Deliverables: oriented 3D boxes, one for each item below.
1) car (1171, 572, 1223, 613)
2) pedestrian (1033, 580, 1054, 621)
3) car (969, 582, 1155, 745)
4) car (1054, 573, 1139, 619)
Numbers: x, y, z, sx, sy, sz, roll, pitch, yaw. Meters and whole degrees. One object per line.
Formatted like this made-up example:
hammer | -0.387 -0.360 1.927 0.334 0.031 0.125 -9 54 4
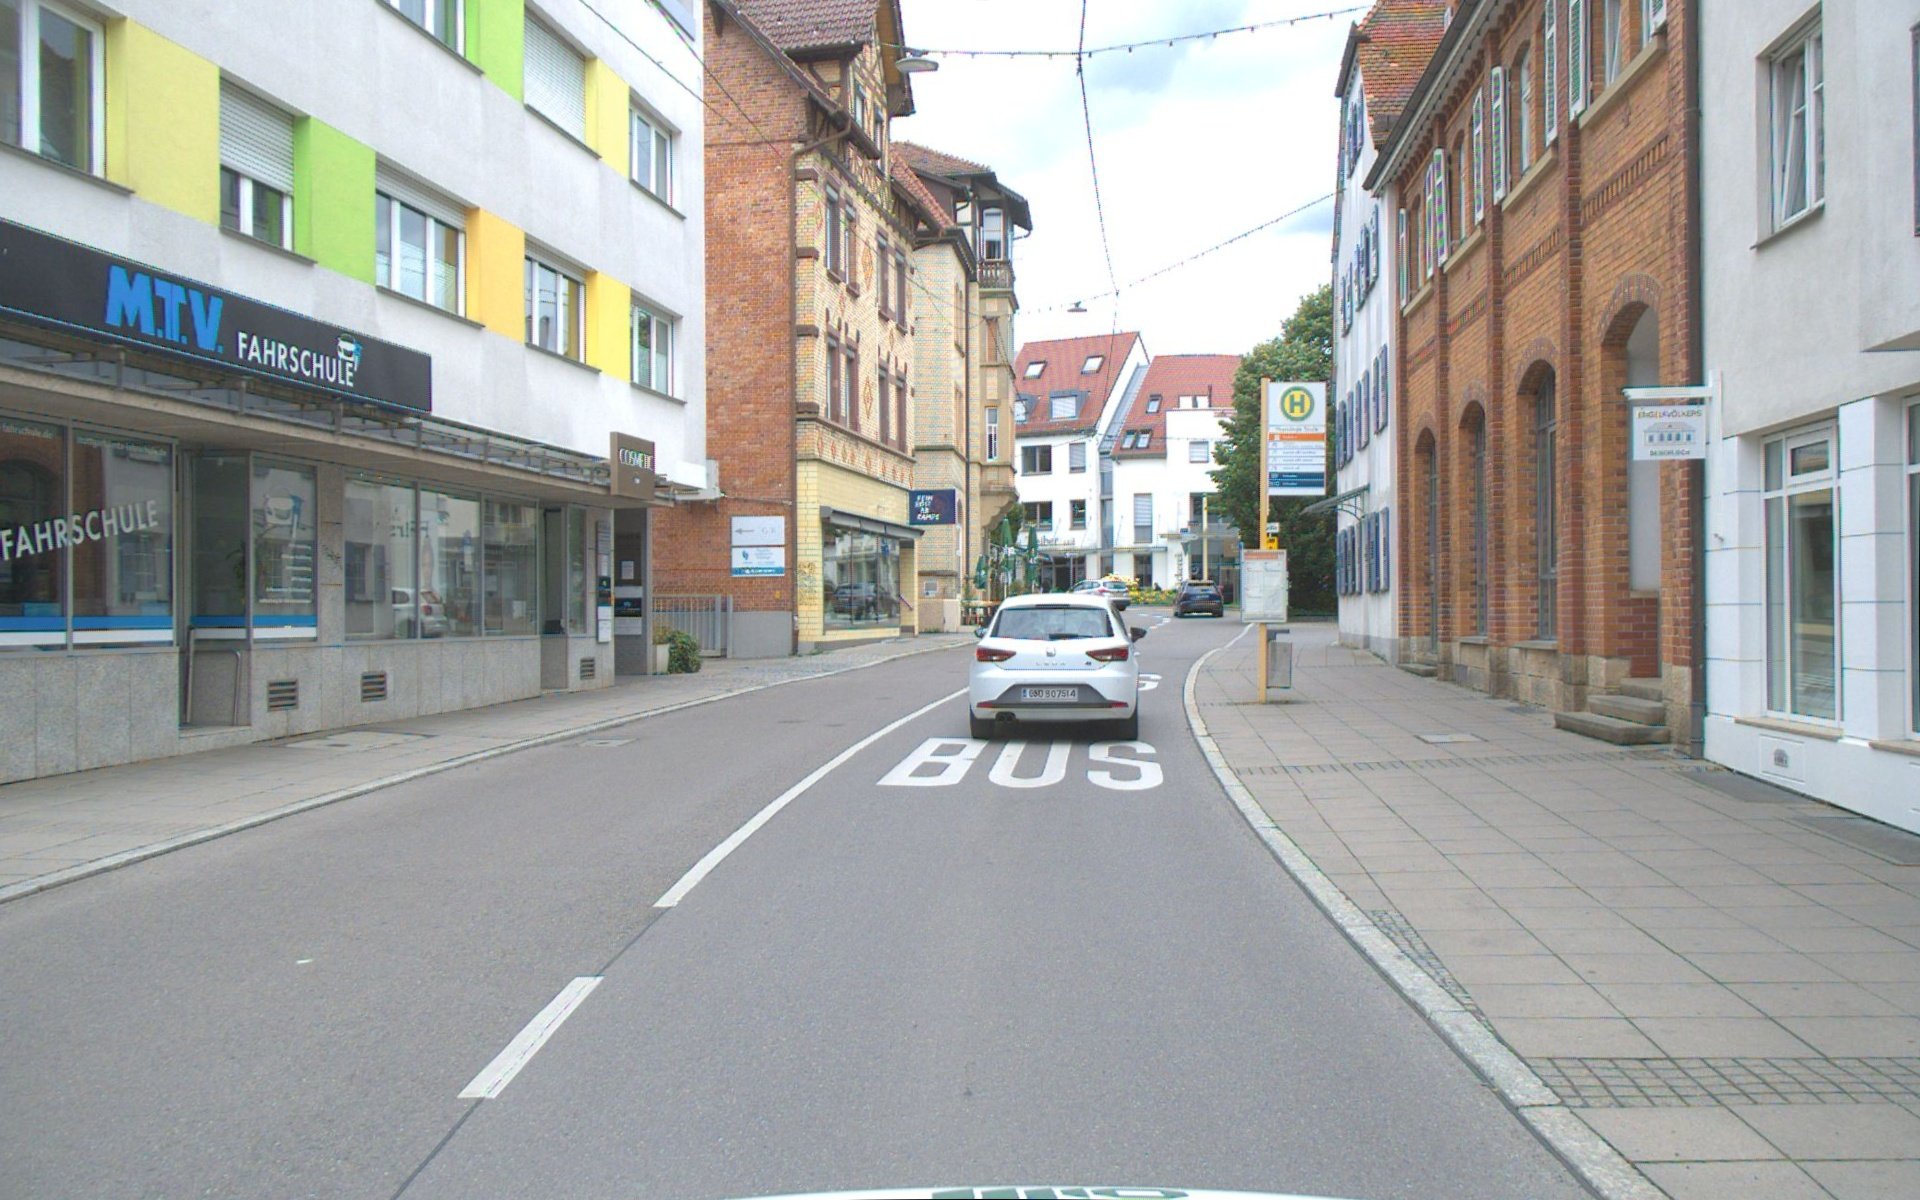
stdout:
car | 9.212 -0.331 64.483 1.773 1.506 3.873 -1 1 4
pedestrian | 3.263 0.004 64.673 0.816 1.579 0.628 -1 0 3
car | 1.157 0.597 17.842 1.773 1.506 3.873 -1 1 5
car | 6.305 -0.171 76.542 1.974 2.049 3.957 -1 0 -31
